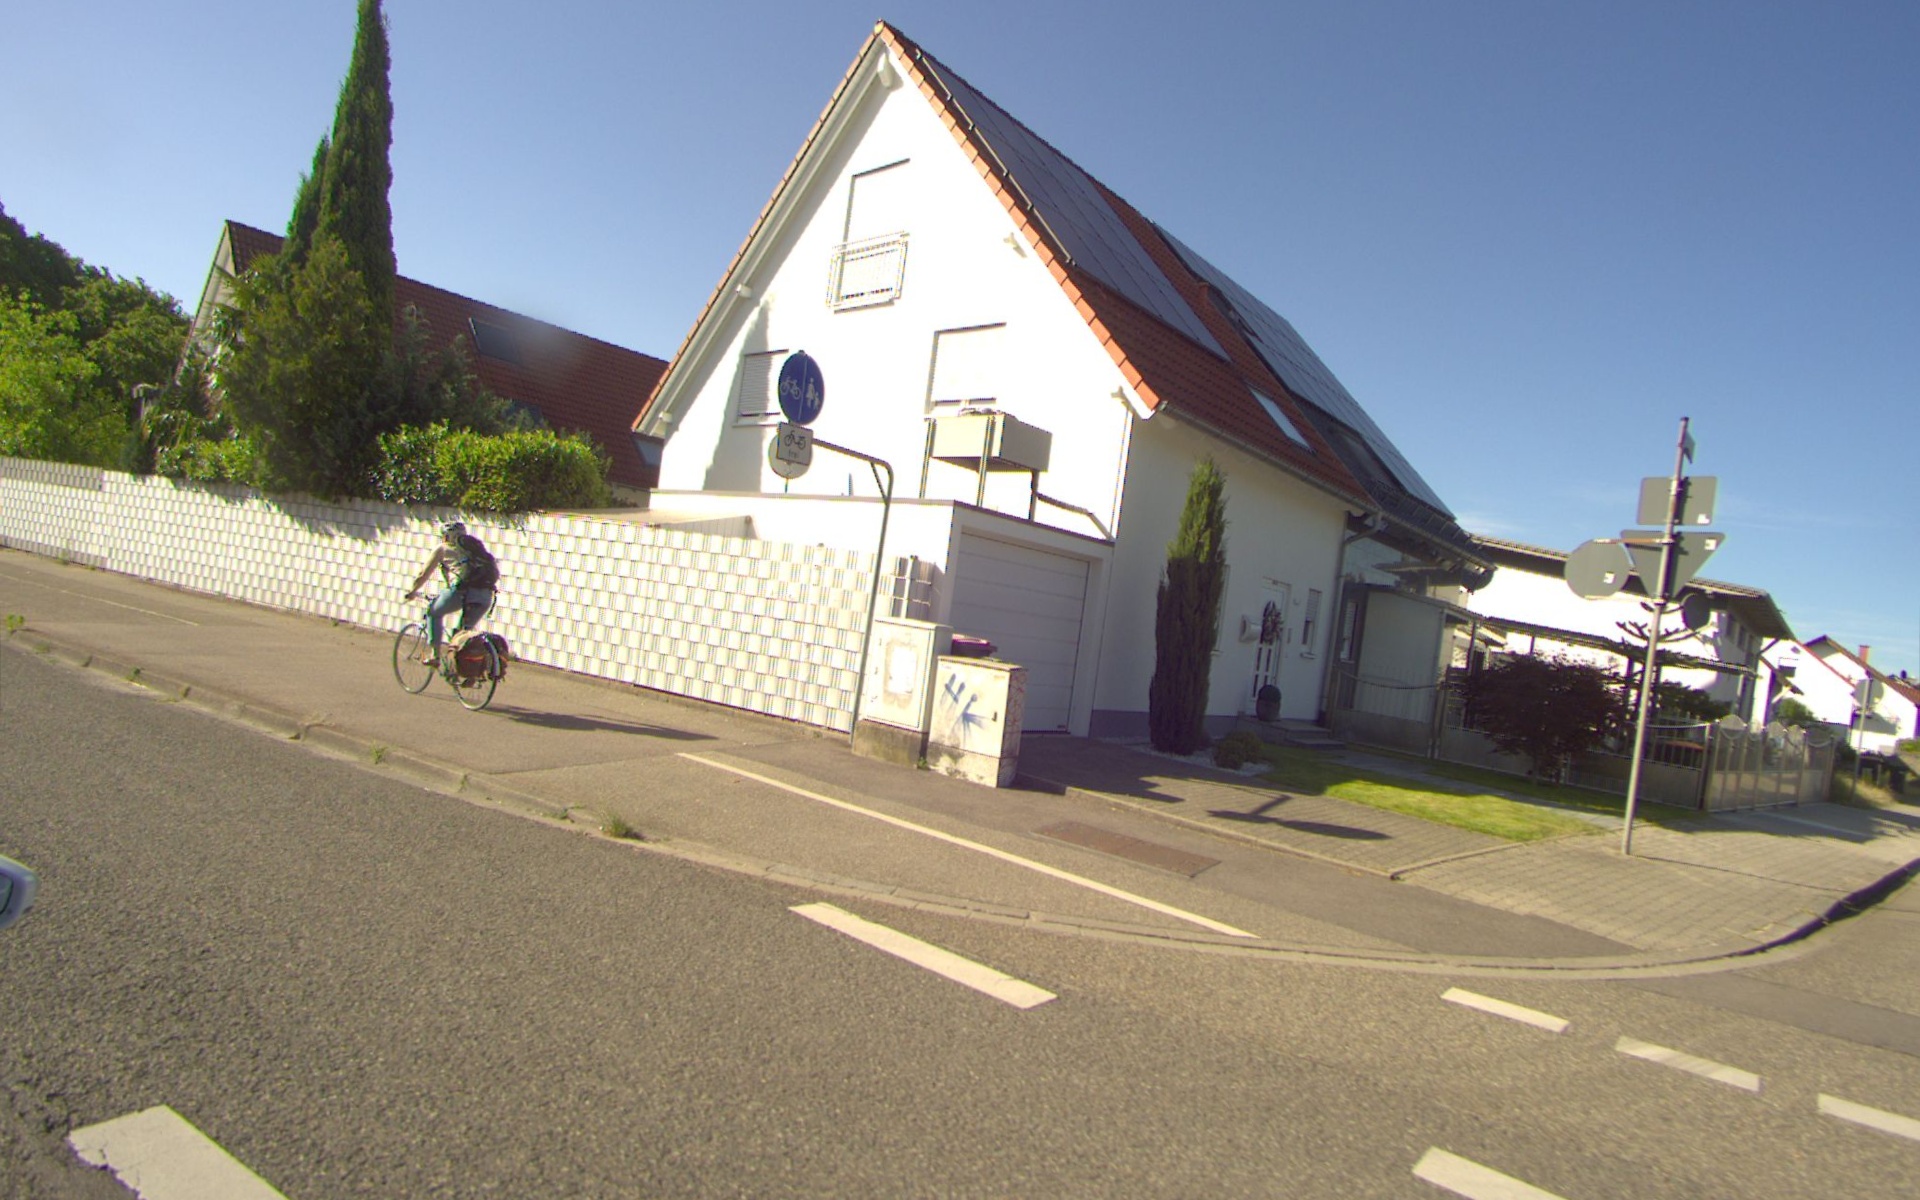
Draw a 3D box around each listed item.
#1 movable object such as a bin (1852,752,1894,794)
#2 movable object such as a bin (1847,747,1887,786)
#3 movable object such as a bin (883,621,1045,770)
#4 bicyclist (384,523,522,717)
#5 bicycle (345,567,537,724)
[{"bbox_3d":[27.294,5.165,30.094,0.822,1.093,0.924,6,-4,42],"label":"movable object such as a bin"},{"bbox_3d":[28.448,5.219,31.568,0.822,1.044,0.810,6,-4,42],"label":"movable object such as a bin"},{"bbox_3d":[0.045,0.891,9.619,1.046,1.220,1.001,6,0,37],"label":"movable object such as a bin"},{"bbox_3d":[-4.756,0.175,9.431,0.965,1.654,0.630,8,3,33],"label":"bicyclist"},{"bbox_3d":[-4.960,0.389,9.549,2.105,1.170,0.574,8,3,33],"label":"bicycle"}]
